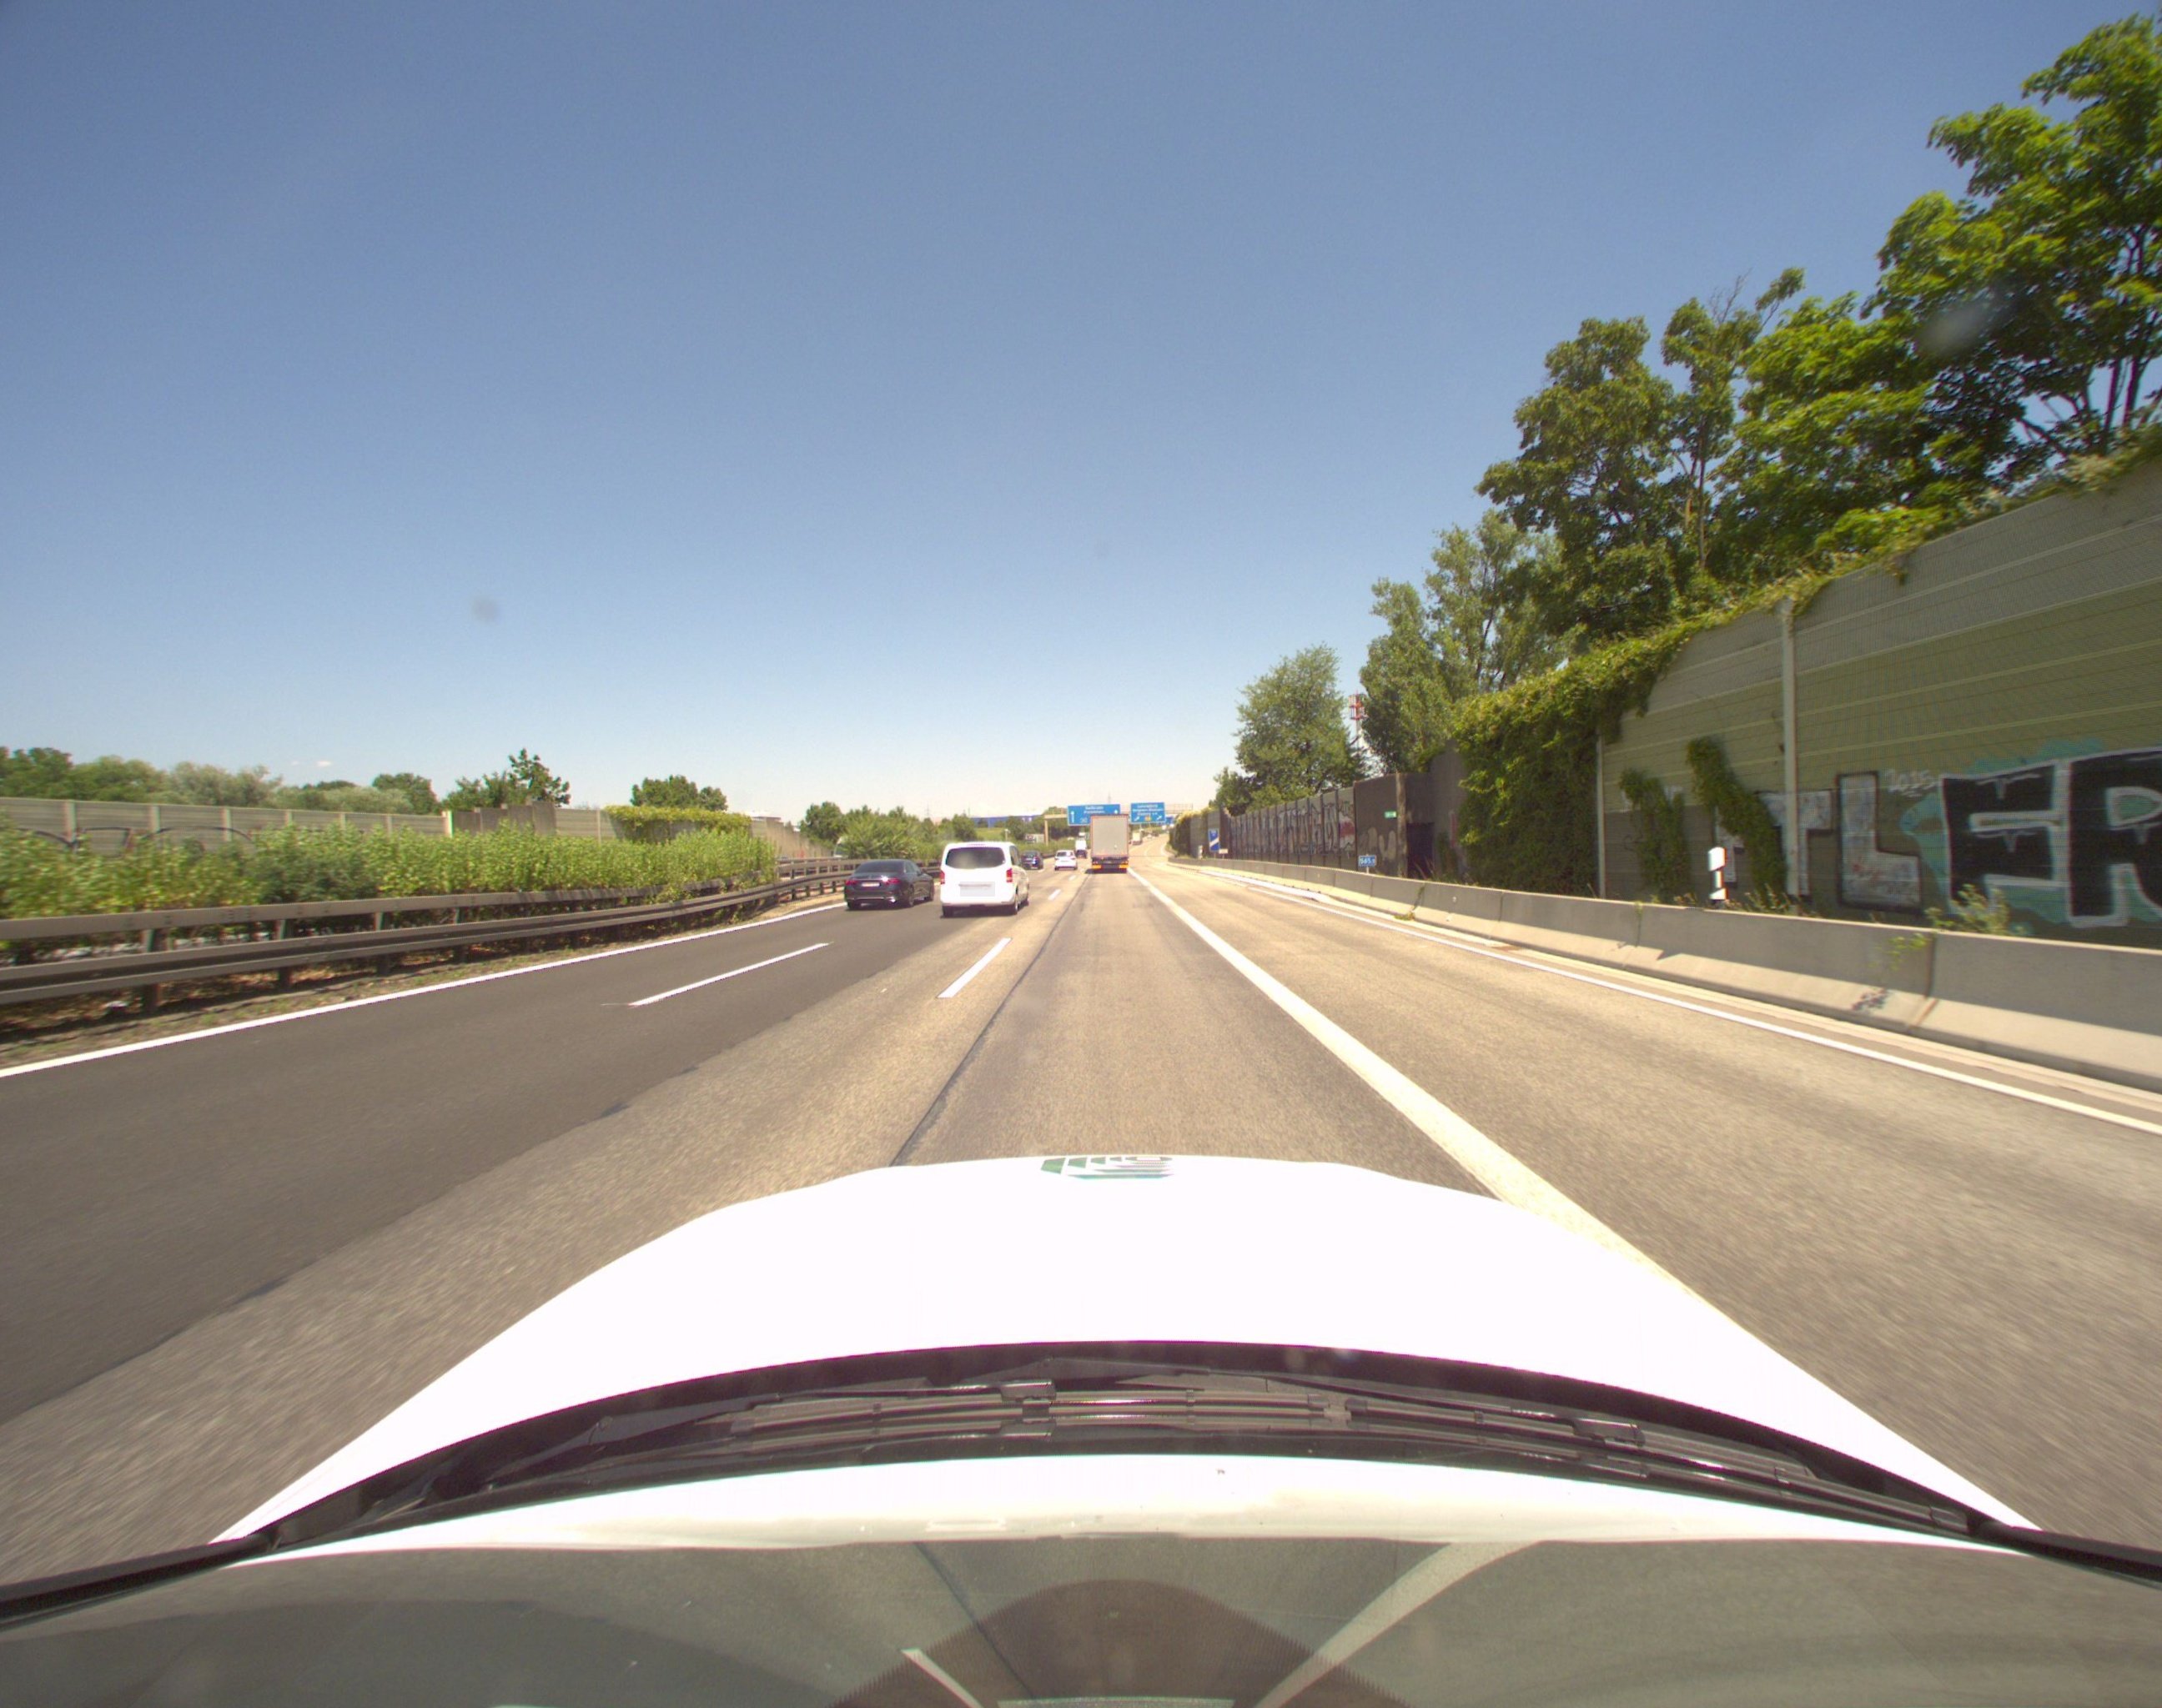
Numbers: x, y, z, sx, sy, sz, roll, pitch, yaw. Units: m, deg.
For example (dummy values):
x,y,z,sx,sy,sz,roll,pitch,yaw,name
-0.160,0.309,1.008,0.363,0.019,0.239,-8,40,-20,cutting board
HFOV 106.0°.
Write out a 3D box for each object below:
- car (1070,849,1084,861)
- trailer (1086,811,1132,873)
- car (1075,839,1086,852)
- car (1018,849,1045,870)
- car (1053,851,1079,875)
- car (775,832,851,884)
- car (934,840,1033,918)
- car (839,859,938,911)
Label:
x,y,z,sx,sy,sz,roll,pitch,yaw,name
-0.555,0.170,124.999,1.897,1.689,4.633,-1,0,2,car
2.132,-0.773,59.700,2.916,4.015,12.046,-1,0,3,trailer
-0.025,-1.622,158.760,1.986,2.374,4.001,-1,-1,1,car
-4.289,0.464,70.811,1.897,1.689,4.633,-1,0,2,car
-1.181,0.739,66.435,1.897,1.851,4.633,-1,0,2,car
-15.443,0.212,47.339,2.233,2.758,6.220,-1,0,0,car
-2.499,0.596,22.043,1.923,1.851,4.694,-1,0,2,car
-5.895,0.903,25.563,1.750,1.408,5.041,-1,0,2,car
